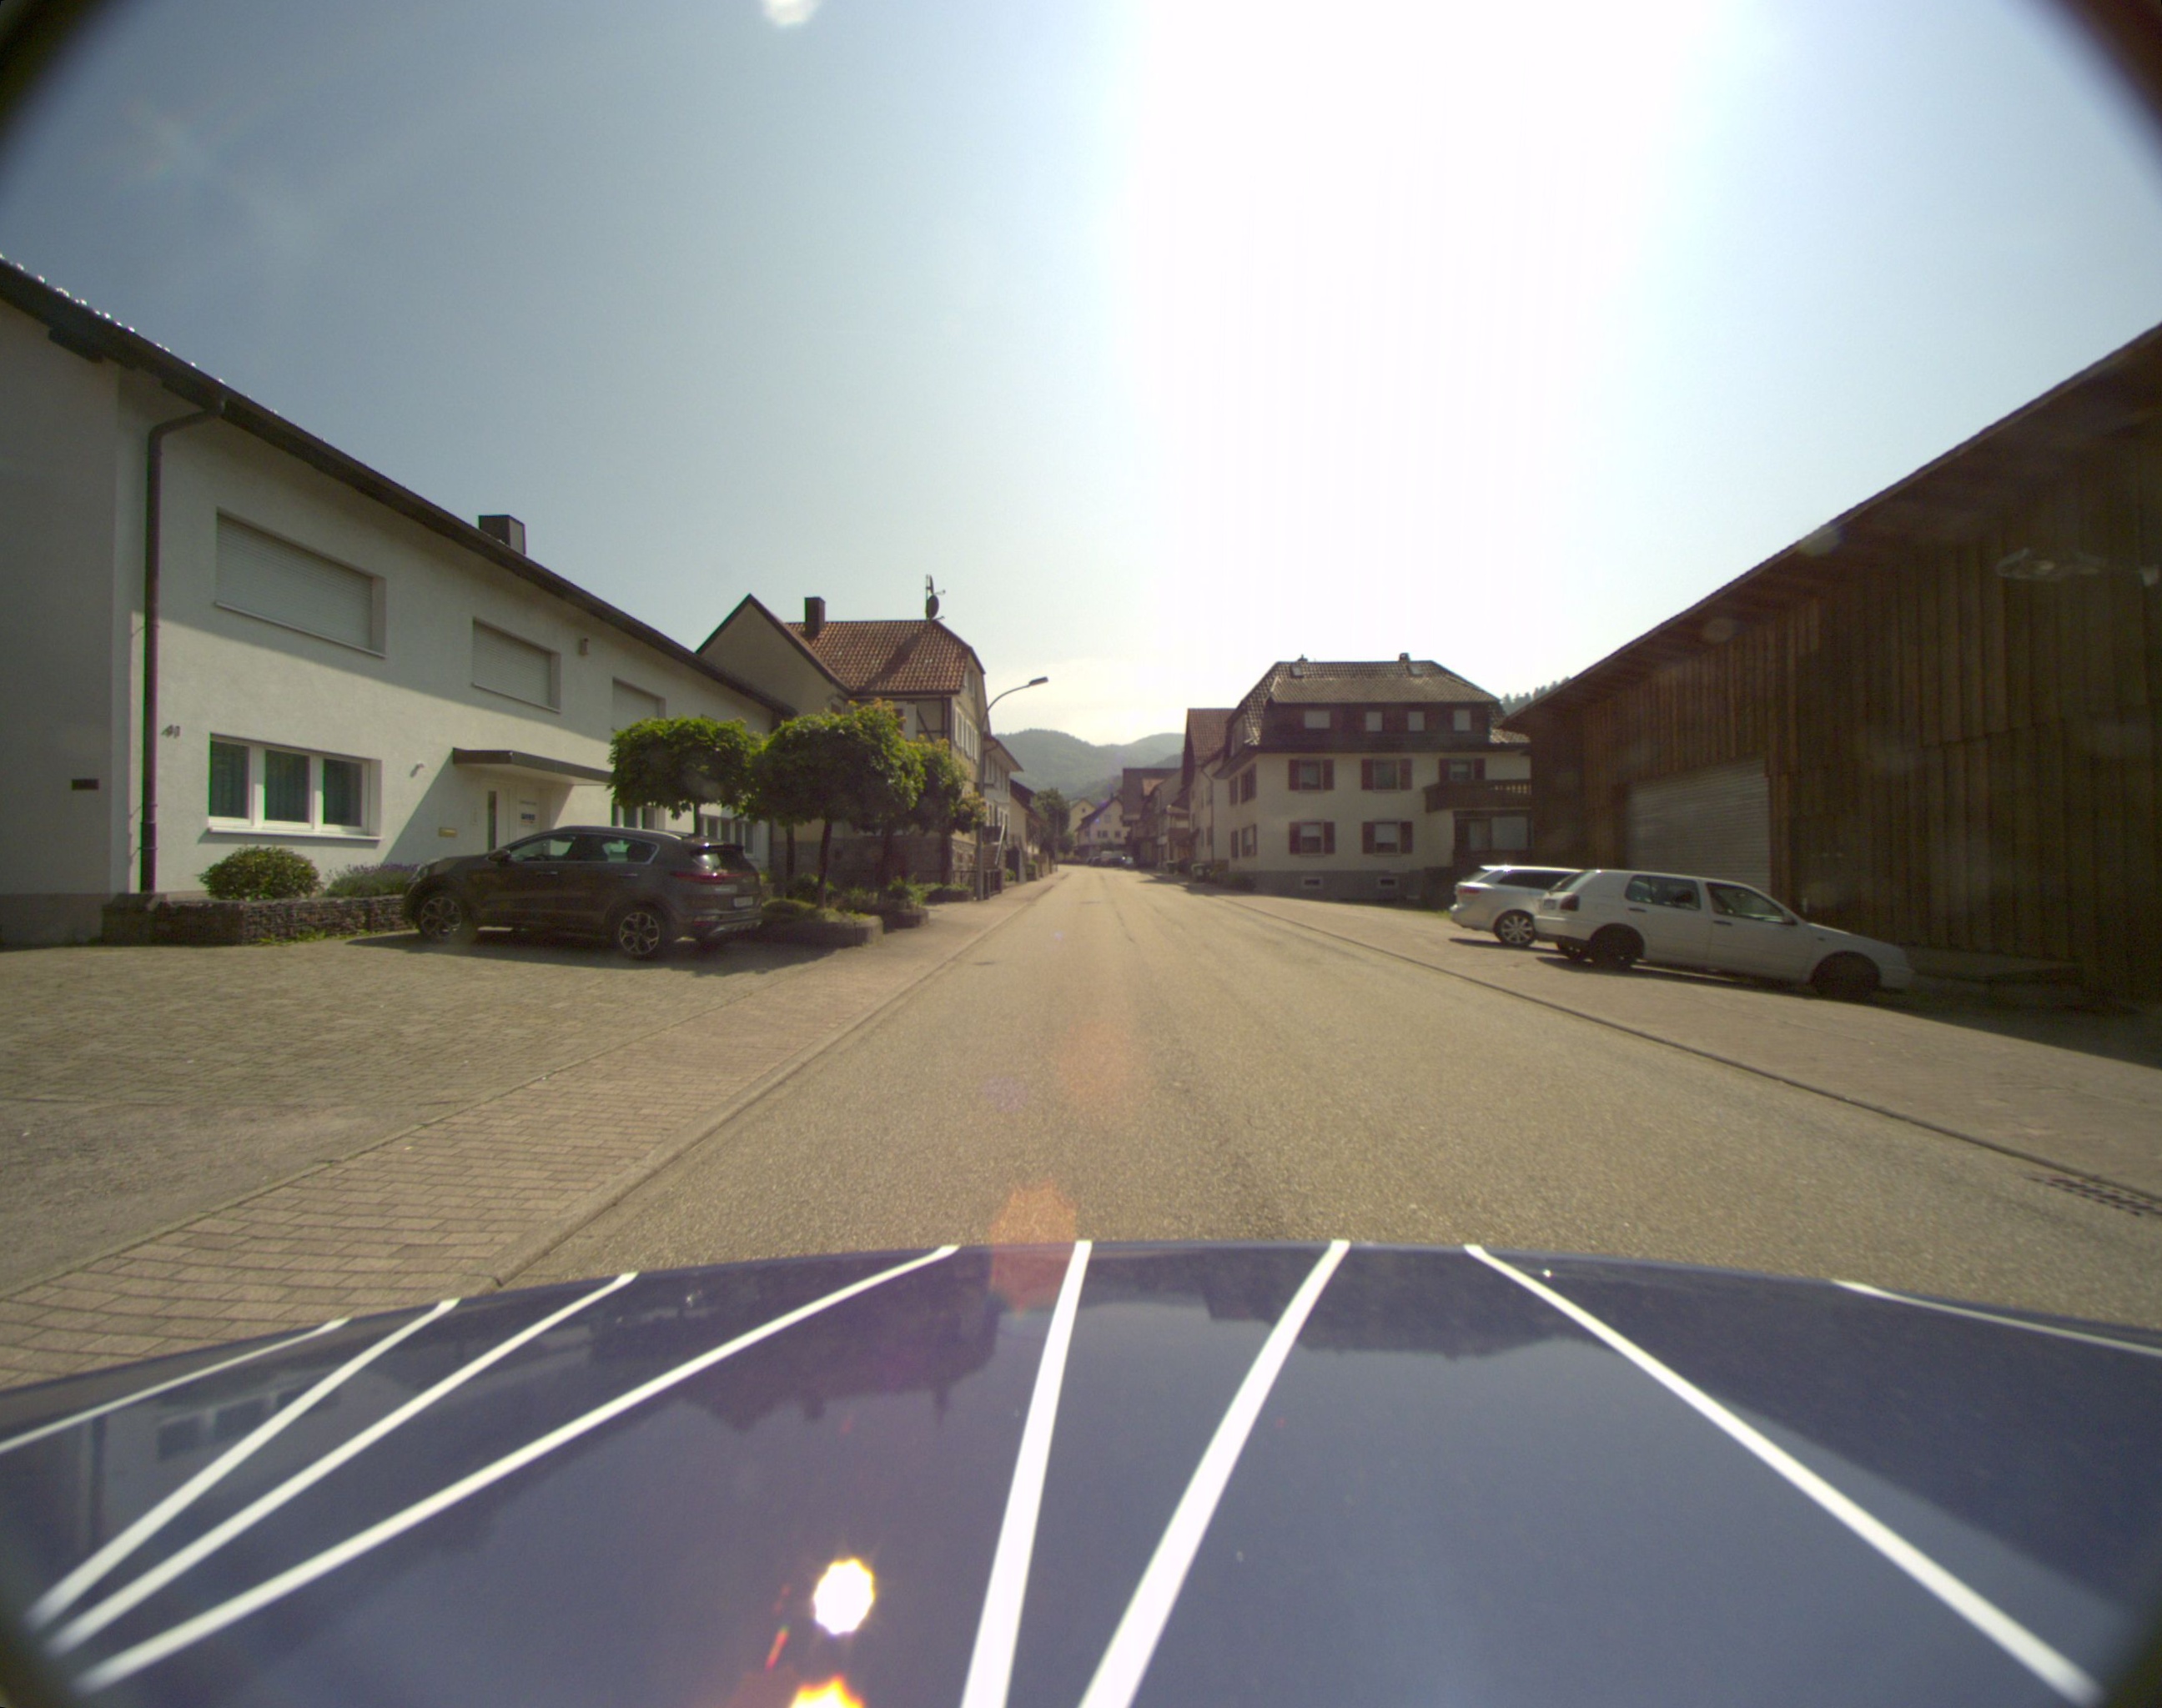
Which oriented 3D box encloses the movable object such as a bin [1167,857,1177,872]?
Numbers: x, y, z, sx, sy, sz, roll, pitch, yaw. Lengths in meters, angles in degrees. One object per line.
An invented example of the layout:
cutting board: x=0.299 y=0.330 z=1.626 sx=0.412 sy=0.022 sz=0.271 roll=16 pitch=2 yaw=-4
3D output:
movable object such as a bin: x=7.571 y=0.875 z=63.124 sx=0.719 sy=1.174 sz=0.598 roll=1 pitch=0 yaw=2

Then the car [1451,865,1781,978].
car: x=9.039 y=1.062 z=13.406 sx=4.431 sy=1.466 sz=1.928 roll=3 pitch=1 yaw=25

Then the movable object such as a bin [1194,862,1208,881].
movable object such as a bin: x=6.885 y=1.018 z=43.716 sx=0.677 sy=1.060 sz=0.653 roll=0 pitch=1 yaw=-1

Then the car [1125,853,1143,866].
car: x=6.617 y=0.652 z=95.699 sx=1.774 sy=1.544 sz=4.284 roll=-2 pitch=0 yaw=-2

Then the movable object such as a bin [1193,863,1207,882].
movable object such as a bin: x=6.720 y=1.025 z=42.795 sx=0.677 sy=1.060 sz=0.621 roll=0 pitch=1 yaw=-1

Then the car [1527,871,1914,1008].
car: x=8.532 y=1.075 z=10.547 sx=3.663 sy=1.377 sz=1.713 roll=4 pitch=1 yaw=16

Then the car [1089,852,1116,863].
car: x=3.291 y=0.500 z=115.455 sx=3.996 sy=1.563 sz=1.577 roll=1 pitch=0 yaw=2

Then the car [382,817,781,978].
car: x=-6.586 y=0.524 z=10.303 sx=4.229 sy=1.677 sz=1.777 roll=4 pitch=1 yaw=4

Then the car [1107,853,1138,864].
car: x=5.587 y=0.602 z=103.259 sx=4.105 sy=1.494 sz=1.753 roll=0 pitch=0 yaw=-1

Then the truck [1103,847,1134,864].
truck: x=5.307 y=0.170 z=108.252 sx=4.178 sy=2.253 sz=1.999 roll=-1 pitch=1 yaw=-5

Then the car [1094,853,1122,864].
car: x=3.993 y=0.651 z=111.946 sx=3.998 sy=1.444 sz=1.627 roll=1 pitch=0 yaw=-3
